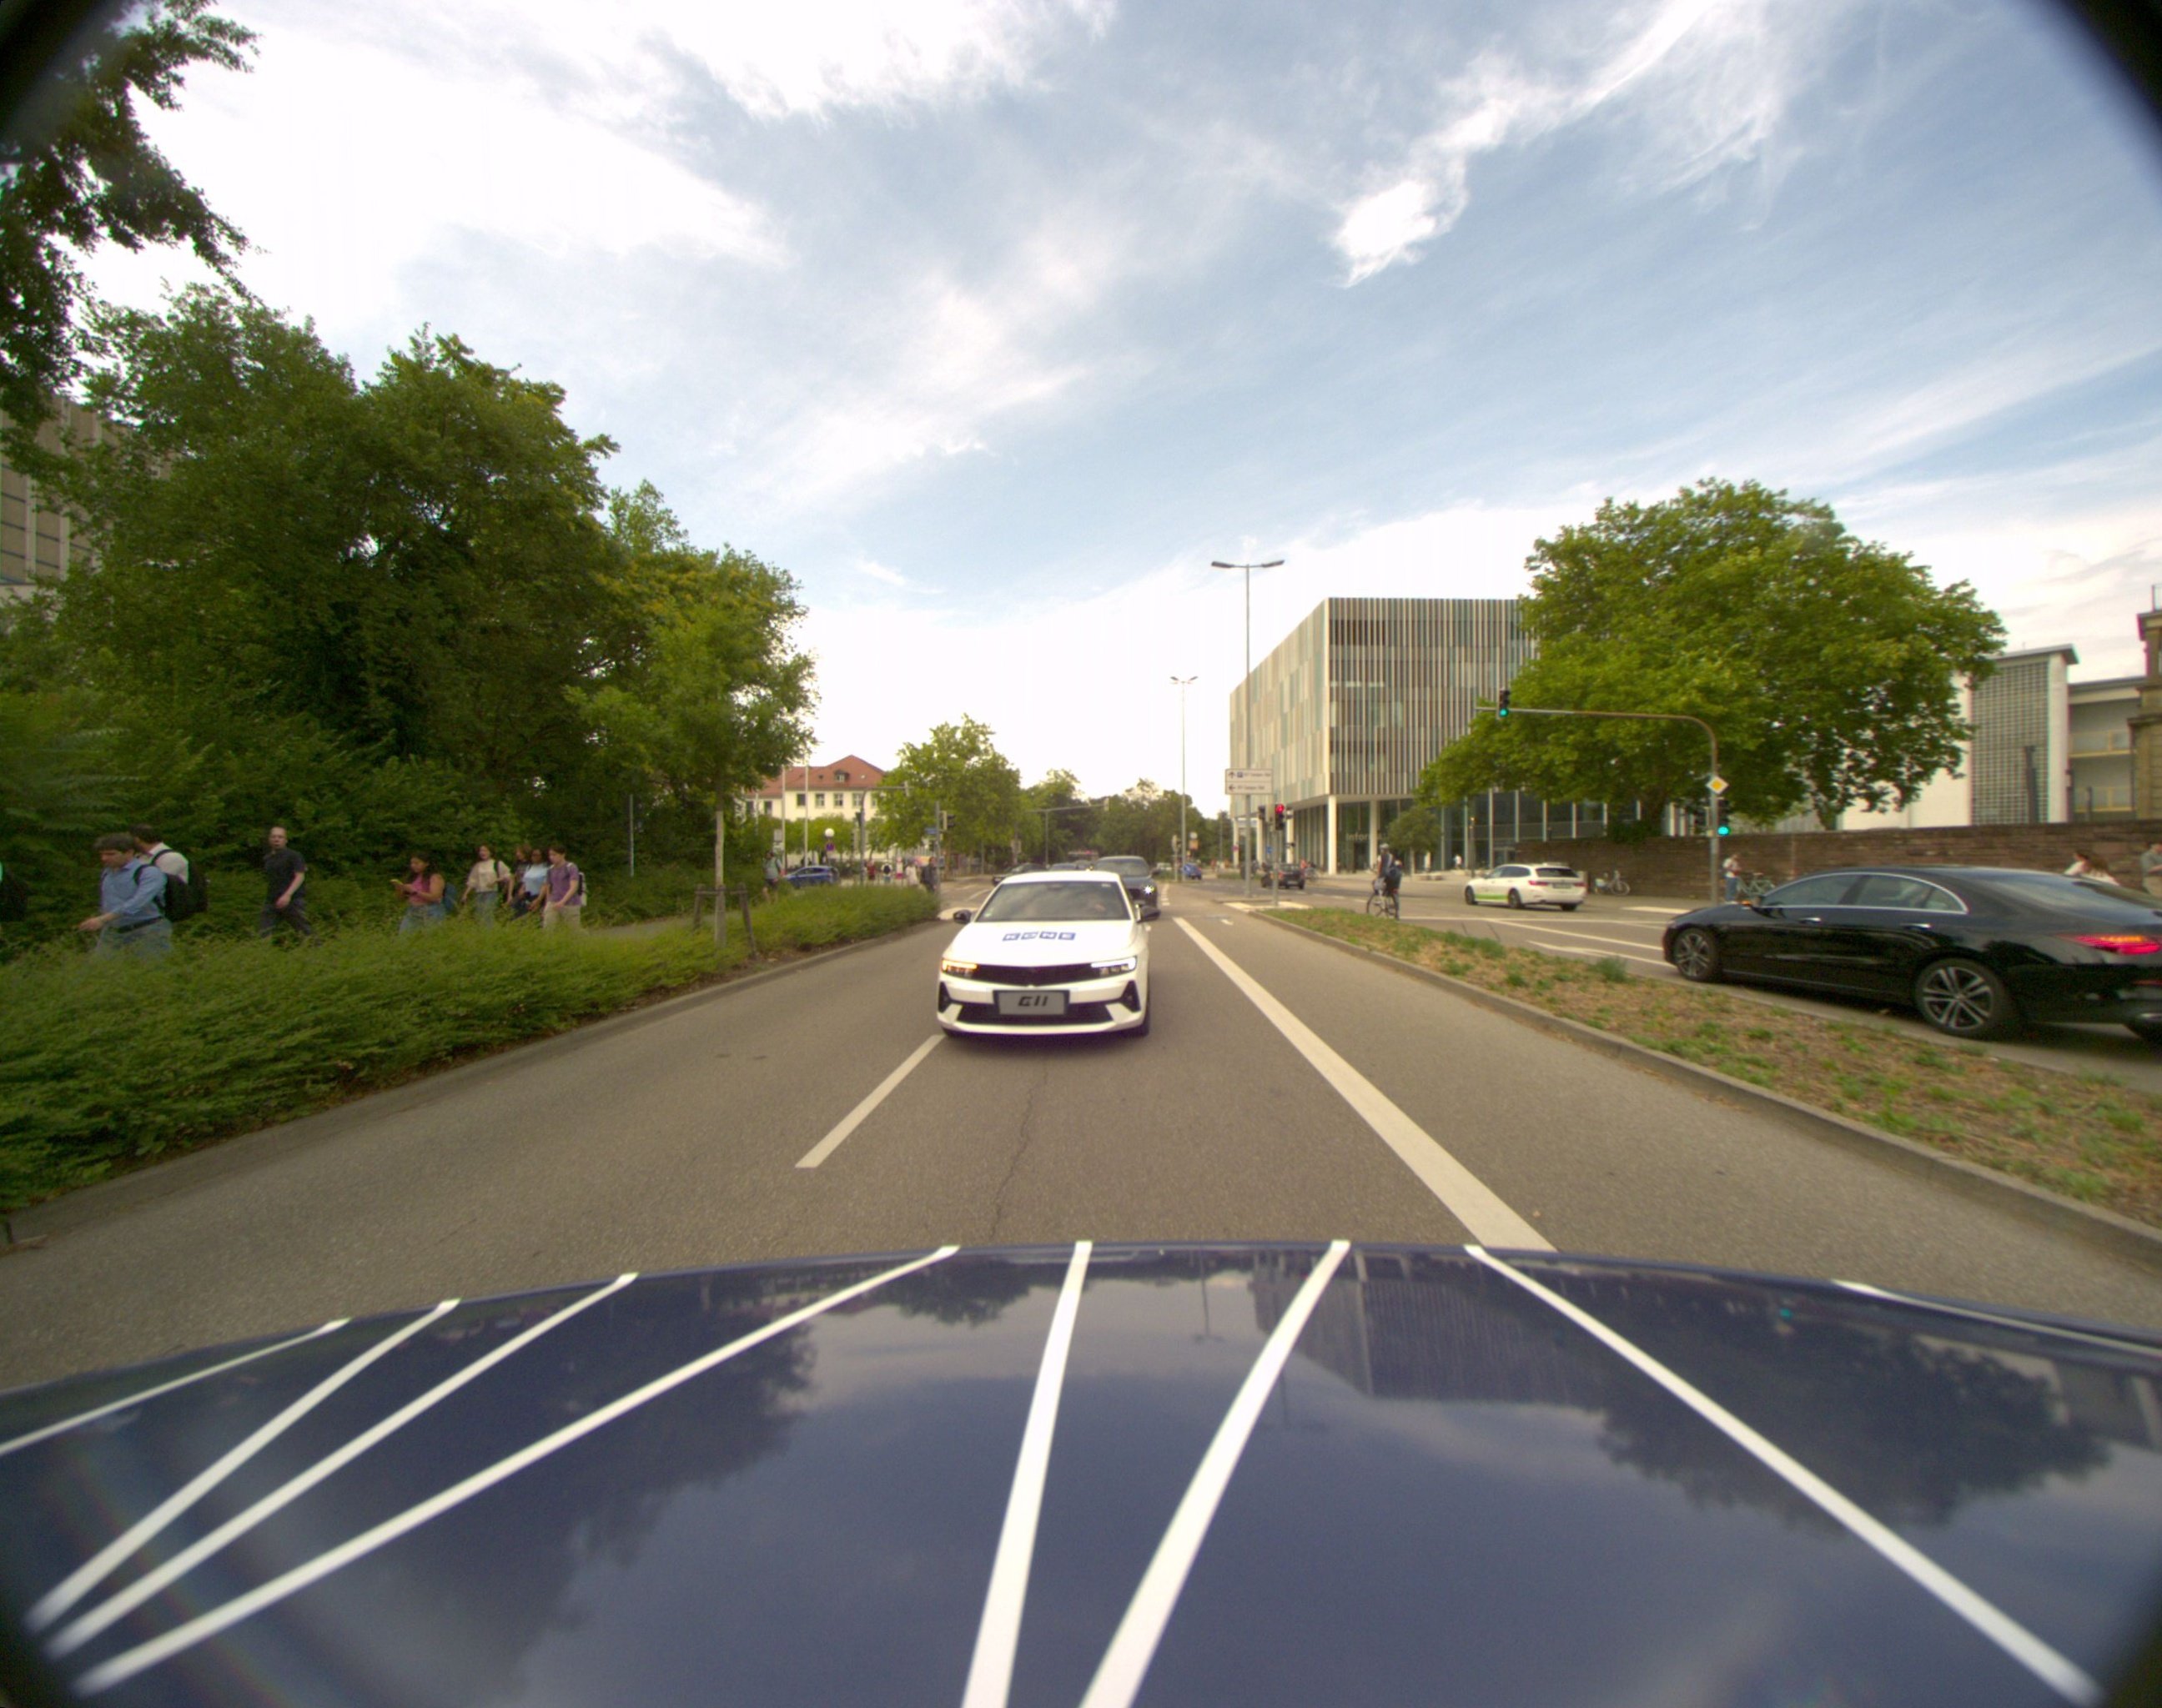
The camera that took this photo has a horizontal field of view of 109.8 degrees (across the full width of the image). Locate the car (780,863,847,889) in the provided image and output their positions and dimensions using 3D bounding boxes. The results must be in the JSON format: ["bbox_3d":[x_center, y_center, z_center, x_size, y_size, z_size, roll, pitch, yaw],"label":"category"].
[{"bbox_3d":[-16.811,1.377,47.854,3.580,1.483,1.674,-1,1,-1],"label":"car"}]

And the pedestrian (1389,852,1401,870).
[{"bbox_3d":[27.977,0.647,67.798,0.731,1.591,0.677,-1,0,-31],"label":"pedestrian"}]

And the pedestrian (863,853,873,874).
[{"bbox_3d":[-20.067,0.899,71.502,0.687,1.951,0.601,-2,1,-40],"label":"pedestrian"}]

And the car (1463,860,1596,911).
[{"bbox_3d":[14.237,0.947,24.446,1.806,1.480,4.416,0,0,2],"label":"car"}]

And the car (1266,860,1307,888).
[{"bbox_3d":[11.817,1.118,43.839,1.575,1.480,3.637,0,0,4],"label":"car"}]

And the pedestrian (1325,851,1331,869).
[{"bbox_3d":[28.509,0.657,87.818,0.512,2.032,0.624,0,0,-2],"label":"pedestrian"}]

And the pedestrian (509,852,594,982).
[{"bbox_3d":[-7.340,0.845,10.563,0.626,1.735,0.780,0,0,1],"label":"pedestrian"}]

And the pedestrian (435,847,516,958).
[{"bbox_3d":[-9.693,0.755,12.191,0.658,1.735,0.780,0,0,1],"label":"pedestrian"}]

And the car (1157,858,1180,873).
[{"bbox_3d":[8.854,1.177,77.131,1.806,1.480,4.288,0,0,0],"label":"car"}]

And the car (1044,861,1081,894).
[{"bbox_3d":[-0.905,1.109,37.017,1.703,1.485,3.832,0,0,-1],"label":"car"}]

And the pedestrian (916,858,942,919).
[{"bbox_3d":[-4.380,0.996,21.927,0.603,1.725,0.654,0,0,0],"label":"pedestrian"}]

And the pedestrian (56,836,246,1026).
[{"bbox_3d":[-9.173,0.718,7.544,0.658,1.756,0.958,-1,0,1],"label":"pedestrian"}]

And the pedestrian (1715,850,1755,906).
[{"bbox_3d":[21.450,0.761,24.942,0.748,1.772,0.782,-2,2,-32],"label":"pedestrian"}]

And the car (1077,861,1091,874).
[{"bbox_3d":[0.344,1.513,87.702,1.660,1.455,4.000,1,0,0],"label":"car"}]

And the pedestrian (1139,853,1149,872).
[{"bbox_3d":[6.060,0.832,73.123,0.727,1.842,1.064,-1,0,-2],"label":"pedestrian"}]

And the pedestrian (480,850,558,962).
[{"bbox_3d":[-8.995,0.807,12.179,0.658,1.735,0.780,0,0,1],"label":"pedestrian"}]

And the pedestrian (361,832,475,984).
[{"bbox_3d":[-7.850,0.616,9.035,0.658,1.735,0.780,0,0,1],"label":"pedestrian"}]

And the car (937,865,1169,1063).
[{"bbox_3d":[-0.252,0.859,8.122,1.744,1.430,4.782,0,0,-1],"label":"car"}]

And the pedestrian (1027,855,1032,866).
[{"bbox_3d":[-9.142,1.166,134.255,0.798,1.922,0.760,0,0,-1],"label":"pedestrian"}]

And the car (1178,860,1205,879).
[{"bbox_3d":[9.589,1.305,66.257,1.806,1.503,4.103,0,1,0],"label":"car"}]

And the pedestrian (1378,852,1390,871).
[{"bbox_3d":[27.326,0.665,68.478,0.731,1.730,0.677,-1,1,-34],"label":"pedestrian"}]

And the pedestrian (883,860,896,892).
[{"bbox_3d":[-11.308,1.294,44.853,0.647,1.841,0.828,-2,1,-12],"label":"pedestrian"}]

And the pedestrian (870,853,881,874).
[{"bbox_3d":[-19.477,0.879,72.050,0.687,1.951,0.601,-2,1,-40],"label":"pedestrian"}]

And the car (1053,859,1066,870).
[{"bbox_3d":[-2.791,1.354,99.304,1.703,1.361,3.832,0,0,0],"label":"car"}]

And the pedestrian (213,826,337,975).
[{"bbox_3d":[-9.769,0.548,9.242,0.658,1.735,0.780,0,0,1],"label":"pedestrian"}]

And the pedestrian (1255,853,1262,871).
[{"bbox_3d":[17.885,0.839,76.505,0.512,1.826,0.624,0,-1,-1],"label":"pedestrian"}]

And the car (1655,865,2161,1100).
[{"bbox_3d":[7.961,0.867,7.142,1.806,1.480,4.405,0,0,0],"label":"car"}]

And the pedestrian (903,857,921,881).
[{"bbox_3d":[-12.369,1.081,55.651,0.953,1.698,0.702,-2,0,18],"label":"pedestrian"}]

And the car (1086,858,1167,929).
[{"bbox_3d":[1.102,0.947,20.280,1.904,1.639,4.645,-1,0,1],"label":"car"}]

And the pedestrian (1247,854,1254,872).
[{"bbox_3d":[17.054,0.907,76.287,0.512,1.826,0.772,0,-1,-1],"label":"pedestrian"}]

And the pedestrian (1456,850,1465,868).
[{"bbox_3d":[36.816,0.459,73.759,0.635,1.768,0.598,0,1,45],"label":"pedestrian"}]

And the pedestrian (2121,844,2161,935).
[{"bbox_3d":[21.356,0.692,15.047,0.748,1.772,0.782,-1,2,-30],"label":"pedestrian"}]

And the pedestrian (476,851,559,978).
[{"bbox_3d":[-8.006,0.831,10.826,0.582,1.735,0.790,0,0,1],"label":"pedestrian"}]

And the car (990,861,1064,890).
[{"bbox_3d":[-3.353,1.294,47.098,4.182,1.547,1.801,-2,0,-30],"label":"car"}]

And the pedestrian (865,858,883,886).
[{"bbox_3d":[-13.211,1.138,48.523,0.769,1.794,0.892,-2,0,4],"label":"pedestrian"}]
